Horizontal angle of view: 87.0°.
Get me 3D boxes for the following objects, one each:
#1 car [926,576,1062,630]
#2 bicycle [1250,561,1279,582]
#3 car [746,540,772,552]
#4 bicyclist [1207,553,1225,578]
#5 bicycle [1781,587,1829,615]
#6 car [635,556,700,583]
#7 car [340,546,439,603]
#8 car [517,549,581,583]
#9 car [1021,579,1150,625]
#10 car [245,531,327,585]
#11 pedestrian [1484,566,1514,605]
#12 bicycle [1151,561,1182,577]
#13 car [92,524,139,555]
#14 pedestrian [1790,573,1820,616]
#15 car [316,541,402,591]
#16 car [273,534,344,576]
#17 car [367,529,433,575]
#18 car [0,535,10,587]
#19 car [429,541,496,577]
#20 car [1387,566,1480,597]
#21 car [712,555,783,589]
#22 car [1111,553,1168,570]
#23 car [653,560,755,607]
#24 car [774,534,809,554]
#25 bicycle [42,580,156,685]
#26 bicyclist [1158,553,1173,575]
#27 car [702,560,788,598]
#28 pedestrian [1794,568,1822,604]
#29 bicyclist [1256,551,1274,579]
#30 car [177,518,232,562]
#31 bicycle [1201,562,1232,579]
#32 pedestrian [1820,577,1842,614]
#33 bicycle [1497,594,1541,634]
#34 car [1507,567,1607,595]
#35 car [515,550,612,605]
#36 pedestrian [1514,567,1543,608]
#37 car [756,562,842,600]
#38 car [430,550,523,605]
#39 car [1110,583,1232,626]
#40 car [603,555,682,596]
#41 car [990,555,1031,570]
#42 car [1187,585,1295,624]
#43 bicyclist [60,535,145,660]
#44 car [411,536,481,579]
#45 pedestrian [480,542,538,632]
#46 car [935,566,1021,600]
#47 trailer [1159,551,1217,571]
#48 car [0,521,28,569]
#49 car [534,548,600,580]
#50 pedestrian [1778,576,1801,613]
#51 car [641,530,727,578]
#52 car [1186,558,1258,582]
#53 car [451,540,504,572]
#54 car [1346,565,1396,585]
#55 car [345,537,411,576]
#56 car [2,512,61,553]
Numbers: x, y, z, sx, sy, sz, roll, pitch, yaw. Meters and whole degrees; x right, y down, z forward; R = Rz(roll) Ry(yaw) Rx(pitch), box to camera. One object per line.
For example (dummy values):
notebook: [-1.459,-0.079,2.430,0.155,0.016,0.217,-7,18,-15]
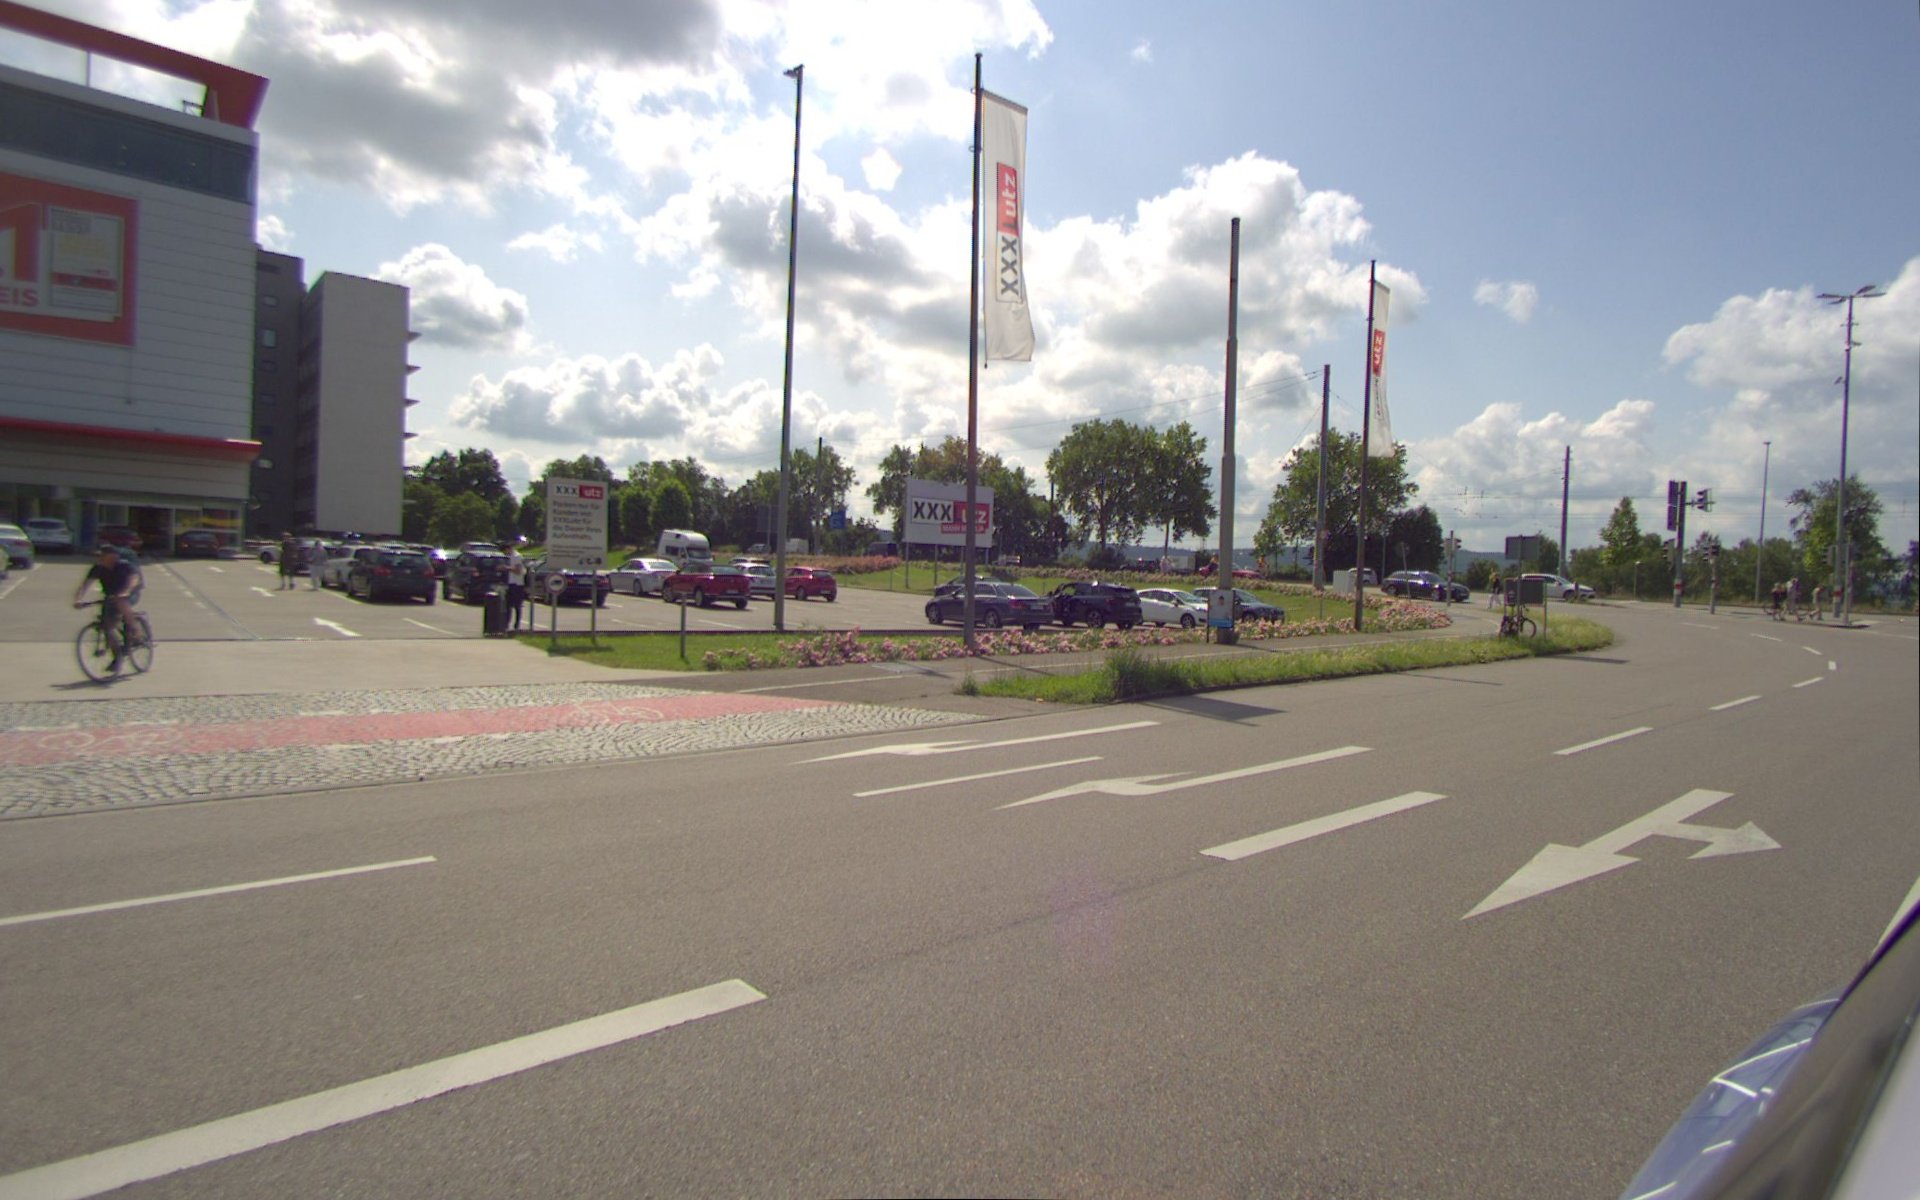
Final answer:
car: [0.974,0.054,31.525,1.823,1.495,4.370,0,2,-39]
bicycle: [17.415,-1.643,57.897,0.609,1.180,1.505,1,1,-36]
car: [-30.962,-8.304,156.138,3.986,1.638,1.969,2,1,43]
bicyclist: [15.339,-2.074,60.623,0.639,1.494,0.742,1,0,-40]
bicycle: [38.751,0.036,46.433,1.663,1.060,0.508,7,1,-1]
car: [-16.507,-1.711,57.042,1.887,1.459,3.992,1,1,-43]
car: [-16.732,-0.782,29.593,1.813,1.379,4.372,2,3,-39]
car: [-19.469,-1.604,47.876,1.639,1.470,3.996,1,1,-40]
car: [4.291,0.036,35.169,1.824,1.434,4.368,0,2,-40]
car: [-22.283,-1.380,33.410,1.666,1.607,4.022,2,1,-42]
pedestrian: [25.144,-0.683,47.209,0.848,1.787,0.865,1,1,-14]
bicycle: [13.005,-1.946,63.680,0.586,0.973,1.985,1,1,-40]
car: [-41.209,-2.920,49.357,1.688,1.360,3.869,1,1,-41]
pedestrian: [34.939,-0.233,41.864,0.686,1.749,0.690,0,3,-30]
car: [-19.999,-1.114,33.628,1.793,1.527,4.158,1,1,-40]
car: [-26.863,-1.869,41.687,1.964,1.526,3.997,1,3,-40]
car: [-26.308,-2.223,47.475,1.964,2.039,3.996,1,1,-40]
car: [-27.145,-1.110,27.429,1.728,1.445,4.299,3,1,-40]
car: [-24.318,-1.990,49.407,1.964,1.607,4.234,1,1,-40]
car: [24.925,-1.000,53.421,1.877,1.501,4.211,0,3,-26]
car: [-11.439,-1.509,54.306,1.821,1.607,4.232,1,3,-42]
car: [17.639,-3.782,99.407,5.231,1.593,1.970,3,2,41]
car: [-9.079,-0.615,35.667,1.813,1.379,4.371,2,2,-39]
car: [-23.970,-7.974,143.737,5.575,2.522,1.929,6,2,44]
bicycle: [-10.238,0.344,12.100,0.612,1.081,1.971,1,2,-28]
bicyclist: [12.956,-2.289,63.749,0.582,1.342,0.686,1,0,-40]
car: [-9.288,-0.909,43.419,1.813,1.379,4.371,1,3,-39]
pedestrian: [38.882,-0.661,46.416,0.672,1.554,0.507,6,1,-3]
bicyclist: [17.444,-1.984,57.884,0.609,1.555,0.697,1,0,-36]
car: [-38.225,-2.989,51.160,1.965,2.039,3.995,1,1,-41]
bicycle: [15.362,-1.779,60.593,0.654,0.973,1.694,1,1,-40]
pedestrian: [36.720,-0.186,42.648,0.460,1.543,0.557,2,0,-32]
bicycle: [14.407,0.351,26.070,1.517,0.964,0.518,-1,2,-42]
car: [33.647,-1.078,57.100,1.980,1.430,4.488,0,3,-43]
car: [-12.761,-0.747,32.448,1.652,1.526,4.371,1,3,-39]
pedestrian: [25.422,-0.569,45.262,0.744,1.824,0.824,1,1,-14]
car: [-7.217,-0.870,45.043,1.813,1.445,4.371,2,2,-39]
car: [-14.968,-0.728,31.221,1.597,1.460,4.371,2,2,-39]
car: [7.989,0.140,38.629,1.765,1.457,4.368,0,2,-40]
car: [-12.567,-0.998,39.969,1.573,1.379,4.036,2,2,-39]
car: [5.790,-4.369,117.166,1.933,1.527,4.775,3,1,-42]
car: [11.484,0.148,41.561,1.686,1.435,3.993,0,3,-42]
bicyclist: [-10.205,-0.034,12.066,0.604,1.430,0.716,2,1,-28]
car: [-22.554,-1.857,44.347,1.964,1.760,3.998,0,2,-38]
pedestrian: [-9.261,-0.265,20.779,0.856,1.805,0.783,1,0,-41]
car: [0.880,-0.896,51.439,2.012,1.426,4.371,2,3,-39]
trailer: [21.544,-3.684,95.940,5.161,1.854,1.798,2,2,41]
car: [-33.222,-1.956,34.759,1.678,1.529,4.158,1,3,-44]
car: [-20.798,-1.900,53.451,1.887,1.549,3.992,1,1,-43]
pedestrian: [35.123,-0.217,42.861,0.460,1.543,0.586,0,1,-32]
car: [-19.616,-3.271,71.600,3.065,3.193,7.903,0,3,-38]
car: [16.890,-1.920,65.288,1.719,1.377,4.243,-1,4,-42]
car: [-28.765,-2.579,60.263,1.964,1.760,3.997,1,1,-38]
car: [33.899,-2.040,83.457,3.476,1.474,1.677,-1,1,41]
car: [-24.870,-1.837,43.168,1.818,1.571,4.058,0,2,-39]
car: [-43.405,-3.119,47.375,1.965,1.745,3.993,1,1,-42]
